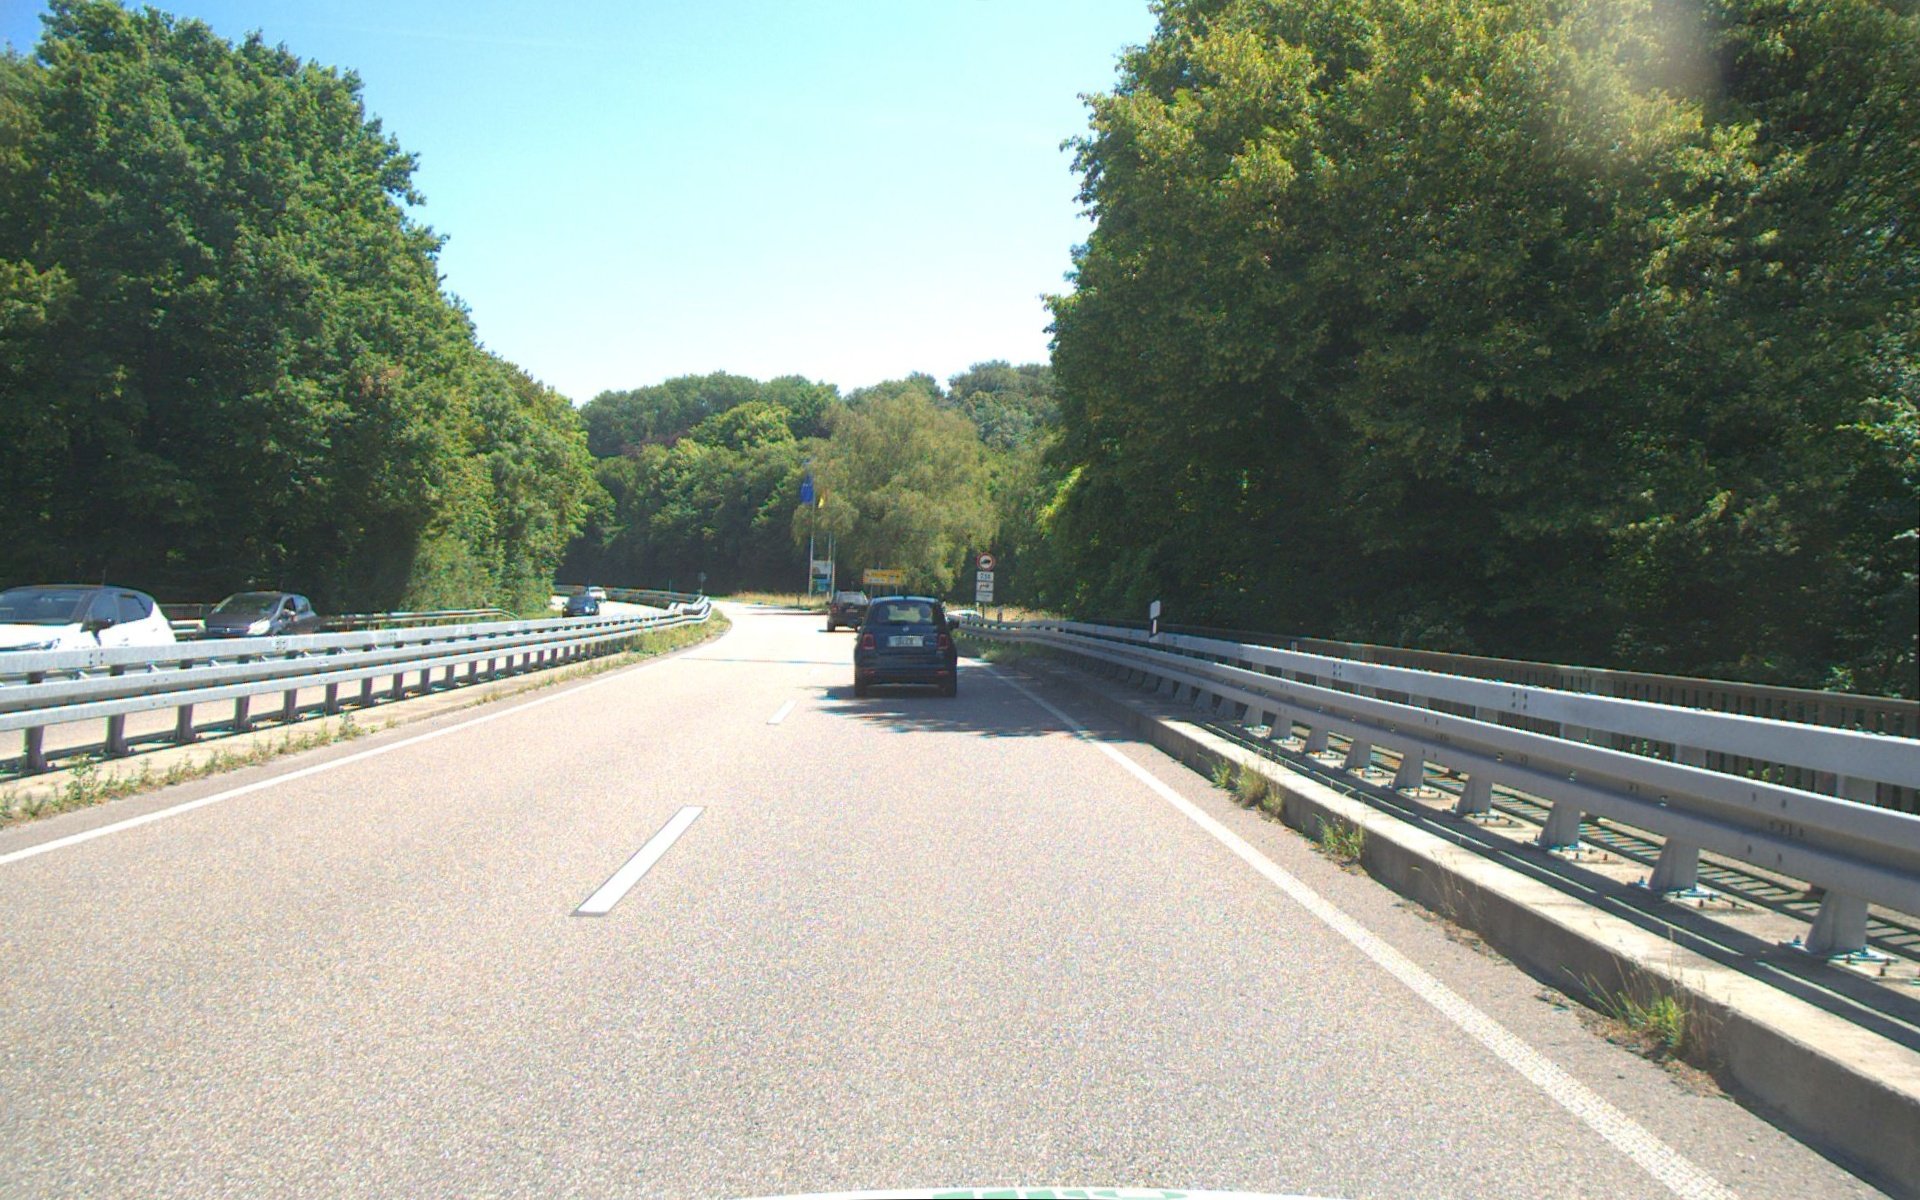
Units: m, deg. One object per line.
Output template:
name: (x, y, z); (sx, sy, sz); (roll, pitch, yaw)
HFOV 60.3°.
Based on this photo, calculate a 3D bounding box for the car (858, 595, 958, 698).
car: (-0.803, 0.684, 26.298); (1.483, 1.527, 3.589); (0, 0, -1)

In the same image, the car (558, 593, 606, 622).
car: (-20.380, 0.378, 89.219); (1.720, 1.555, 4.682); (0, 0, -3)

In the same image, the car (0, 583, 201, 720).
car: (-11.708, 0.606, 21.813); (1.618, 1.634, 4.217); (0, 0, -3)

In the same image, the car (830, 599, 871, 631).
car: (-4.700, 0.630, 70.620); (1.496, 1.336, 3.408); (0, 0, -8)

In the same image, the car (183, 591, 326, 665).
car: (-15.497, 0.577, 36.549); (1.618, 1.555, 3.996); (0, 0, -3)

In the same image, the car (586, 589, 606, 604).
car: (-38.611, -0.385, 175.288); (1.728, 1.600, 4.392); (0, 0, -18)
